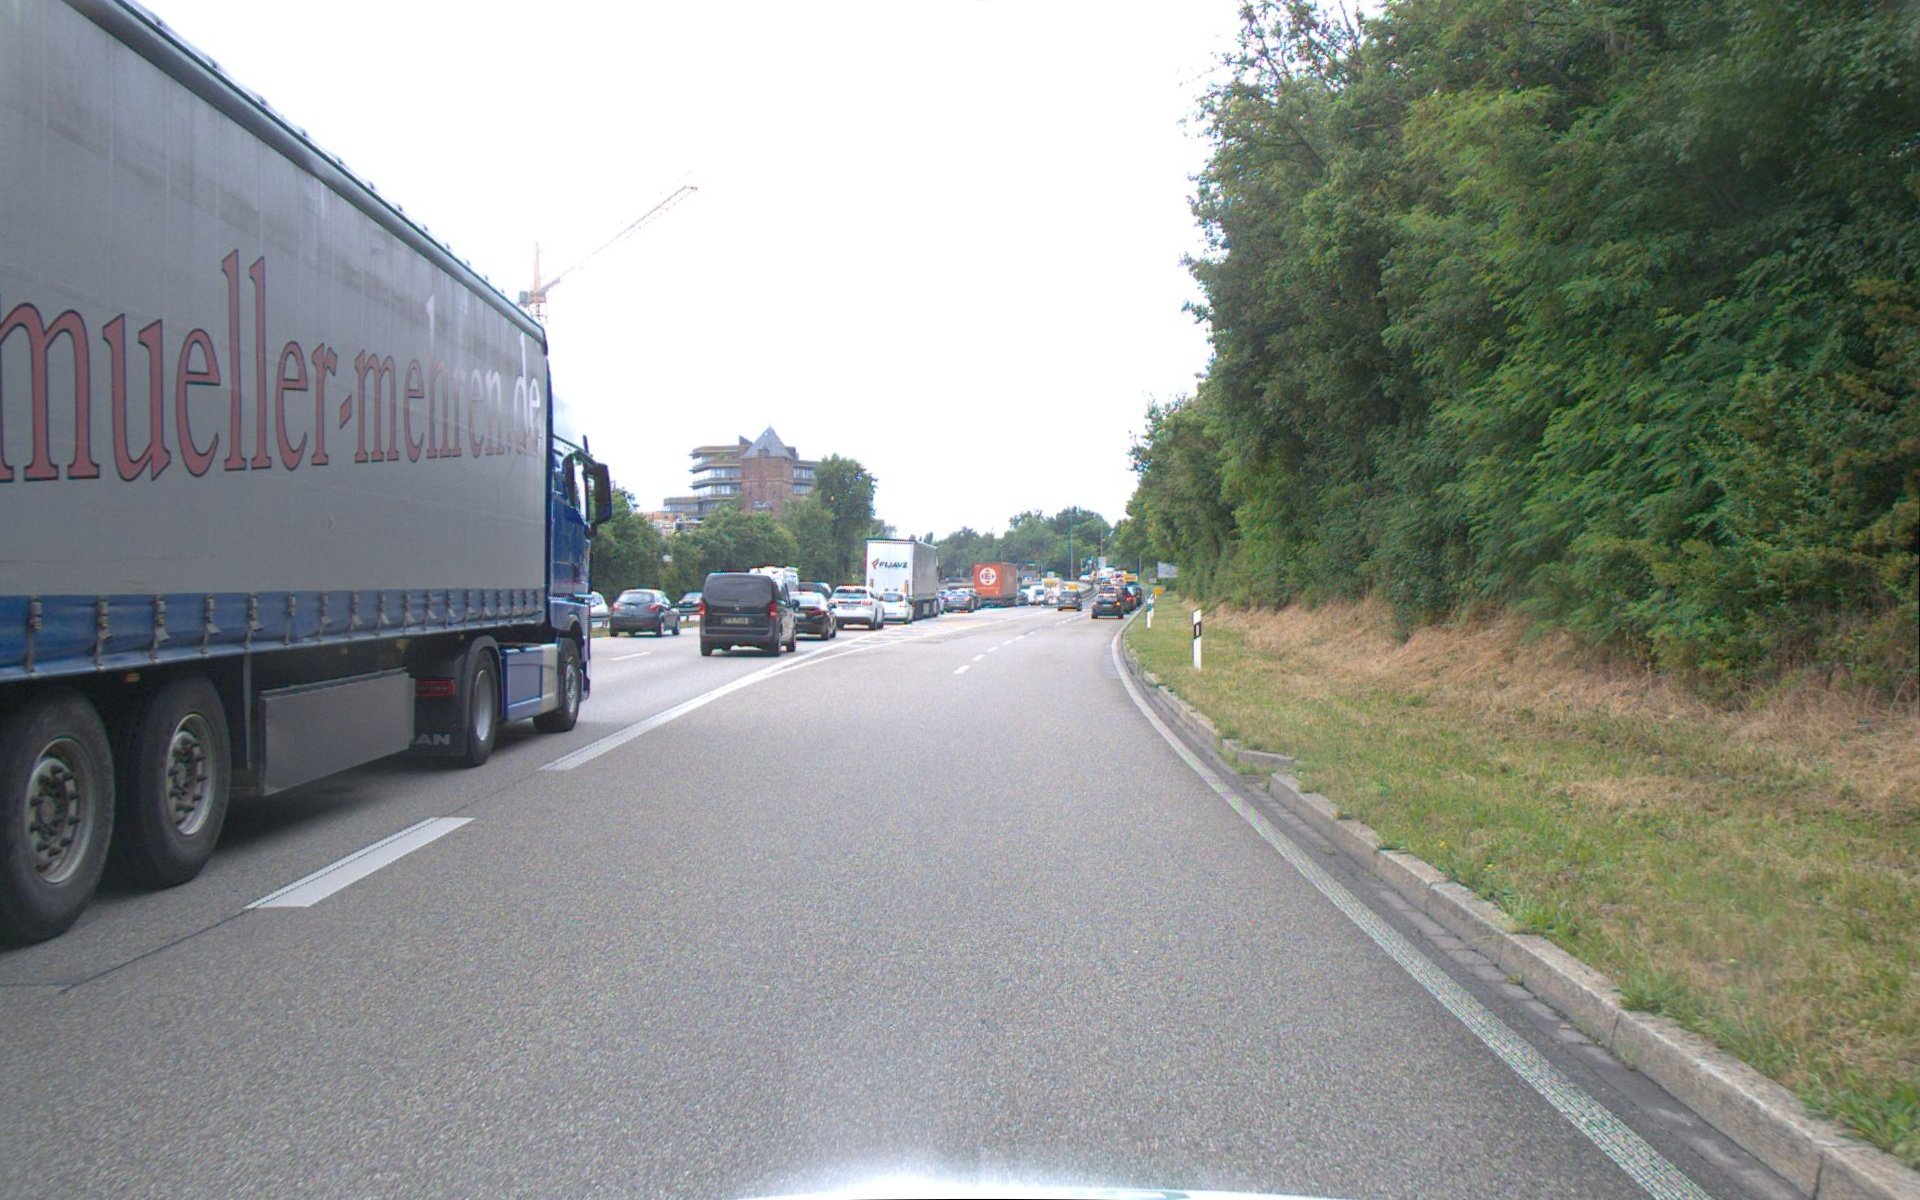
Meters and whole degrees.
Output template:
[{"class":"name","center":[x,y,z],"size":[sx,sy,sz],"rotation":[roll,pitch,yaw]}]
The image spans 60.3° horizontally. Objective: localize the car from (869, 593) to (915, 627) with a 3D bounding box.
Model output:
[{"class":"car","center":[-3.148,0.456,77.186],"size":[1.727,1.504,4.090],"rotation":[2,0,3]}]

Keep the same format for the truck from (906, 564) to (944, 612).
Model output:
[{"class":"truck","center":[-3.128,-1.029,150.911],"size":[2.681,4.211,10.700],"rotation":[1,0,2]}]

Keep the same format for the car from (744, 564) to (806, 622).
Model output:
[{"class":"car","center":[-8.618,-0.324,77.514],"size":[1.952,2.598,5.365],"rotation":[0,0,4]}]

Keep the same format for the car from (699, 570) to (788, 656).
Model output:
[{"class":"car","center":[-5.128,0.297,39.748],"size":[1.949,1.931,4.978],"rotation":[1,0,-6]}]

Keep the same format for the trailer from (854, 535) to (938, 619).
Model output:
[{"class":"trailer","center":[-3.295,-1.107,88.871],"size":[3.230,4.107,13.103],"rotation":[1,0,3]}]

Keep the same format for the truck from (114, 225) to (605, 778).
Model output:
[{"class":"truck","center":[-5.214,-0.719,15.741],"size":[2.510,4.113,6.585],"rotation":[1,0,-3]}]

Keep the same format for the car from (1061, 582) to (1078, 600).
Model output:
[{"class":"car","center":[12.240,-1.028,185.086],"size":[1.910,2.049,4.002],"rotation":[0,0,4]}]

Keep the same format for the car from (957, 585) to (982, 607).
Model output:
[{"class":"car","center":[0.813,-0.320,134.374],"size":[1.681,1.713,4.002],"rotation":[1,0,5]}]

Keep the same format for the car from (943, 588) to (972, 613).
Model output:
[{"class":"car","center":[-0.172,0.041,117.758],"size":[1.681,1.713,4.002],"rotation":[1,0,5]}]

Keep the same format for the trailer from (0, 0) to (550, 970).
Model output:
[{"class":"trailer","center":[-4.916,-0.704,9.025],"size":[2.574,4.093,13.455],"rotation":[1,0,-3]}]

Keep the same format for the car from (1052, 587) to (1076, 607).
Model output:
[{"class":"car","center":[8.102,-0.267,128.562],"size":[1.787,1.508,4.002],"rotation":[-1,0,3]}]

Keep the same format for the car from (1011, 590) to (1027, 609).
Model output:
[{"class":"car","center":[6.368,-0.041,178.465],"size":[1.580,1.982,3.707],"rotation":[1,0,5]}]

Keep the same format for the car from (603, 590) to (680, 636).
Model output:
[{"class":"car","center":[-10.247,0.396,53.422],"size":[1.640,1.413,4.000],"rotation":[0,0,1]}]

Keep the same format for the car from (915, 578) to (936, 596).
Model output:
[{"class":"car","center":[-3.886,-1.431,186.879],"size":[1.951,2.049,4.003],"rotation":[0,0,6]}]

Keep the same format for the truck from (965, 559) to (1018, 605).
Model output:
[{"class":"truck","center":[3.029,-1.667,154.461],"size":[3.415,4.144,13.603],"rotation":[-1,0,8]}]

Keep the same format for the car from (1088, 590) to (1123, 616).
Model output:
[{"class":"car","center":[8.614,0.143,97.674],"size":[1.786,1.508,4.004],"rotation":[0,0,10]}]

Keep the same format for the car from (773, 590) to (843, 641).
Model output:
[{"class":"car","center":[-4.767,0.481,52.484],"size":[1.809,1.485,4.830],"rotation":[1,0,-1]}]

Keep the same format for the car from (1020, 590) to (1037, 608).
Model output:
[{"class":"car","center":[7.870,-0.112,189.731],"size":[1.580,1.982,3.707],"rotation":[1,0,6]}]

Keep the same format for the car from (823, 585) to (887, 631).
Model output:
[{"class":"car","center":[-4.157,0.311,65.994],"size":[1.915,1.724,4.868],"rotation":[1,0,3]}]

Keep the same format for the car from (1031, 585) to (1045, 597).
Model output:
[{"class":"car","center":[9.792,-1.091,207.332],"size":[1.740,1.508,4.001],"rotation":[-1,0,2]}]
